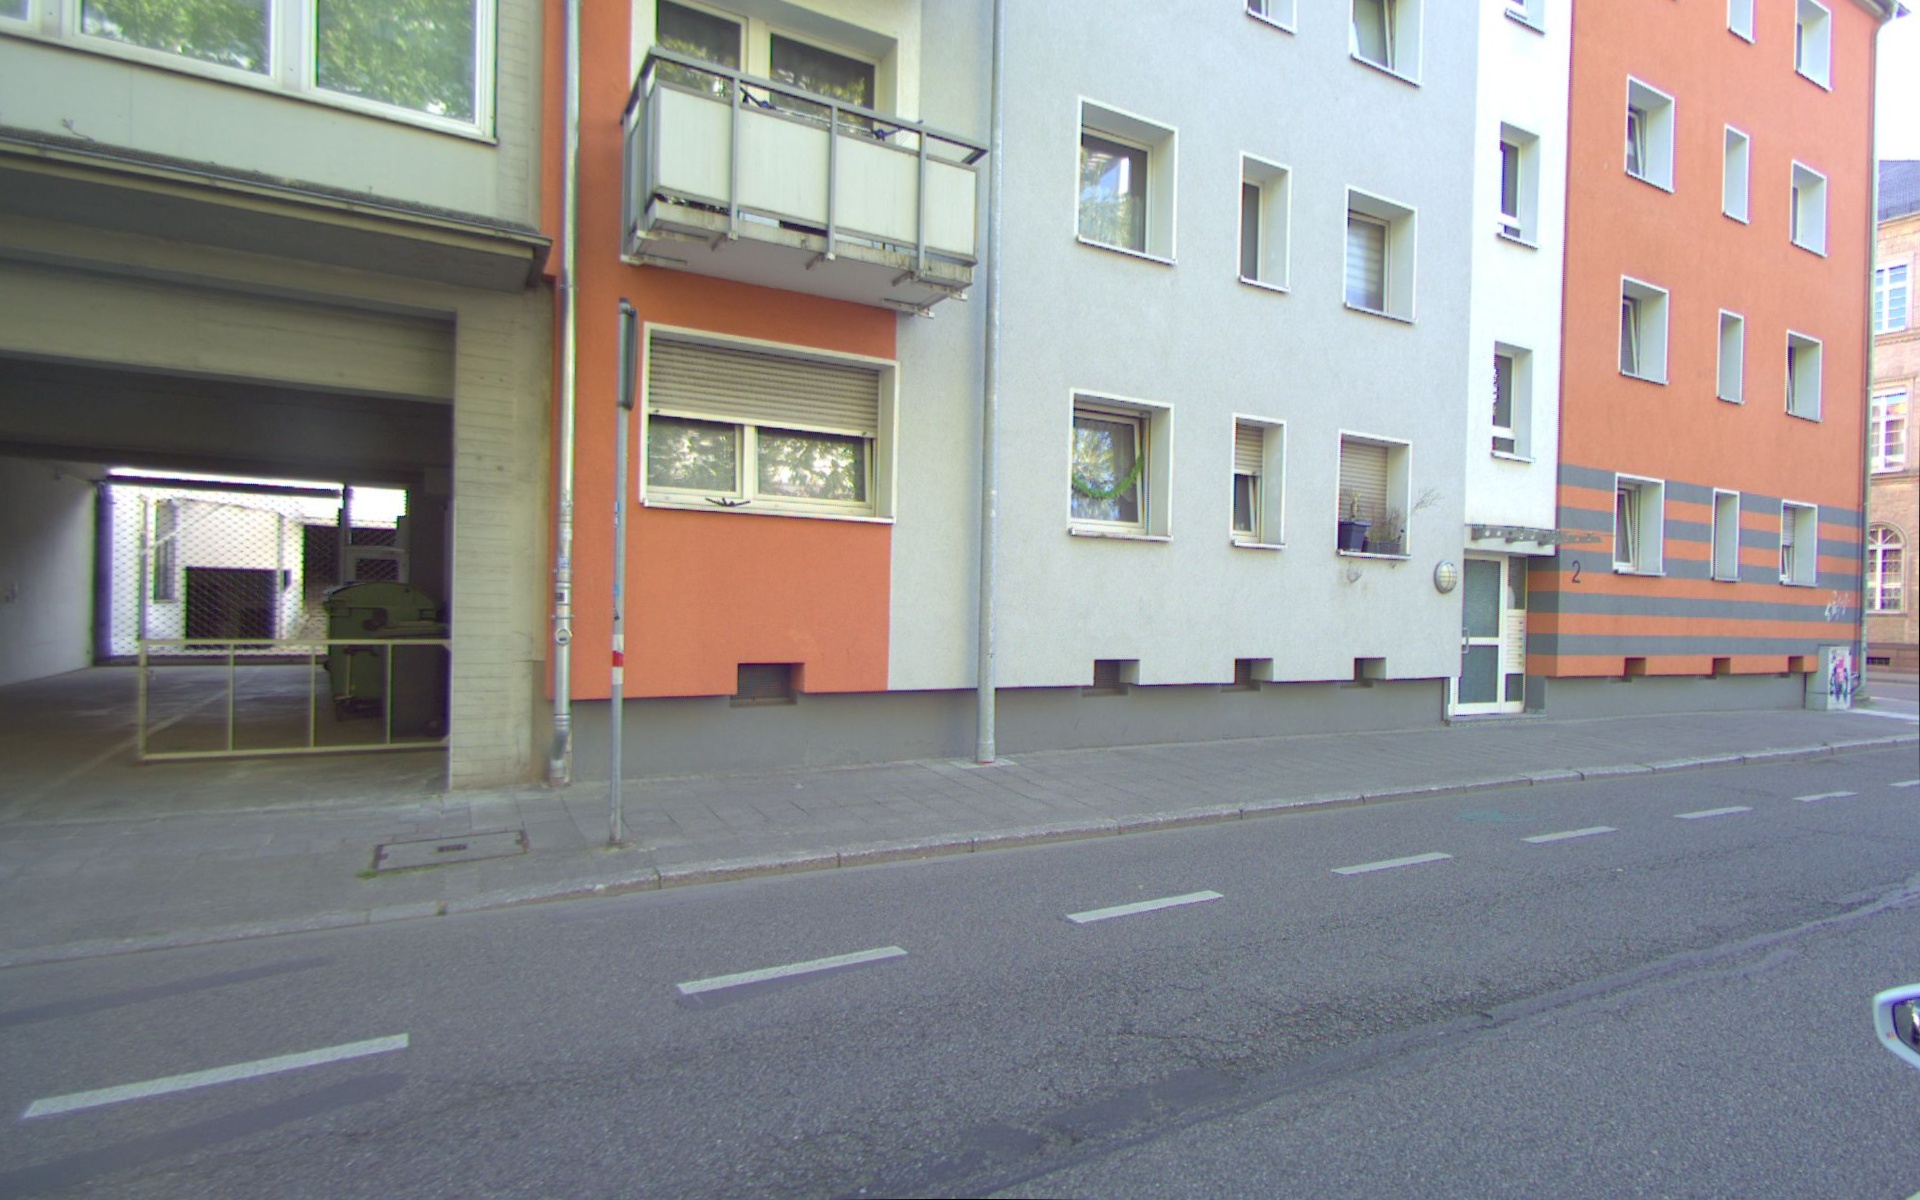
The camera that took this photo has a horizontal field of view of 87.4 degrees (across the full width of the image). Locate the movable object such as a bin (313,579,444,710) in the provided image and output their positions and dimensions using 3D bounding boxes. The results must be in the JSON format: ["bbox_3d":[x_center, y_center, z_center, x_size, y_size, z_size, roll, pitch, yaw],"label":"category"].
[{"bbox_3d":[-7.072,0.522,12.311,1.264,1.493,1.266,2,-1,-27],"label":"movable object such as a bin"}]

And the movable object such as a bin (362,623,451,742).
[{"bbox_3d":[-5.259,0.768,9.571,0.694,1.061,0.567,2,0,-27],"label":"movable object such as a bin"}]

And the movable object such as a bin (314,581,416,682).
[{"bbox_3d":[-9.371,0.481,15.884,1.264,1.506,1.155,2,0,-27],"label":"movable object such as a bin"}]

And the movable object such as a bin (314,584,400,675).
[{"bbox_3d":[-10.266,0.482,17.158,1.128,1.484,1.129,2,0,-27],"label":"movable object such as a bin"}]

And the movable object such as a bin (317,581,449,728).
[{"bbox_3d":[-6.232,0.552,10.942,1.128,1.484,1.255,2,0,-27],"label":"movable object such as a bin"}]

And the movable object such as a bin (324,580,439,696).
[{"bbox_3d":[-7.940,0.502,13.865,1.264,1.506,1.155,2,0,-27],"label":"movable object such as a bin"}]
